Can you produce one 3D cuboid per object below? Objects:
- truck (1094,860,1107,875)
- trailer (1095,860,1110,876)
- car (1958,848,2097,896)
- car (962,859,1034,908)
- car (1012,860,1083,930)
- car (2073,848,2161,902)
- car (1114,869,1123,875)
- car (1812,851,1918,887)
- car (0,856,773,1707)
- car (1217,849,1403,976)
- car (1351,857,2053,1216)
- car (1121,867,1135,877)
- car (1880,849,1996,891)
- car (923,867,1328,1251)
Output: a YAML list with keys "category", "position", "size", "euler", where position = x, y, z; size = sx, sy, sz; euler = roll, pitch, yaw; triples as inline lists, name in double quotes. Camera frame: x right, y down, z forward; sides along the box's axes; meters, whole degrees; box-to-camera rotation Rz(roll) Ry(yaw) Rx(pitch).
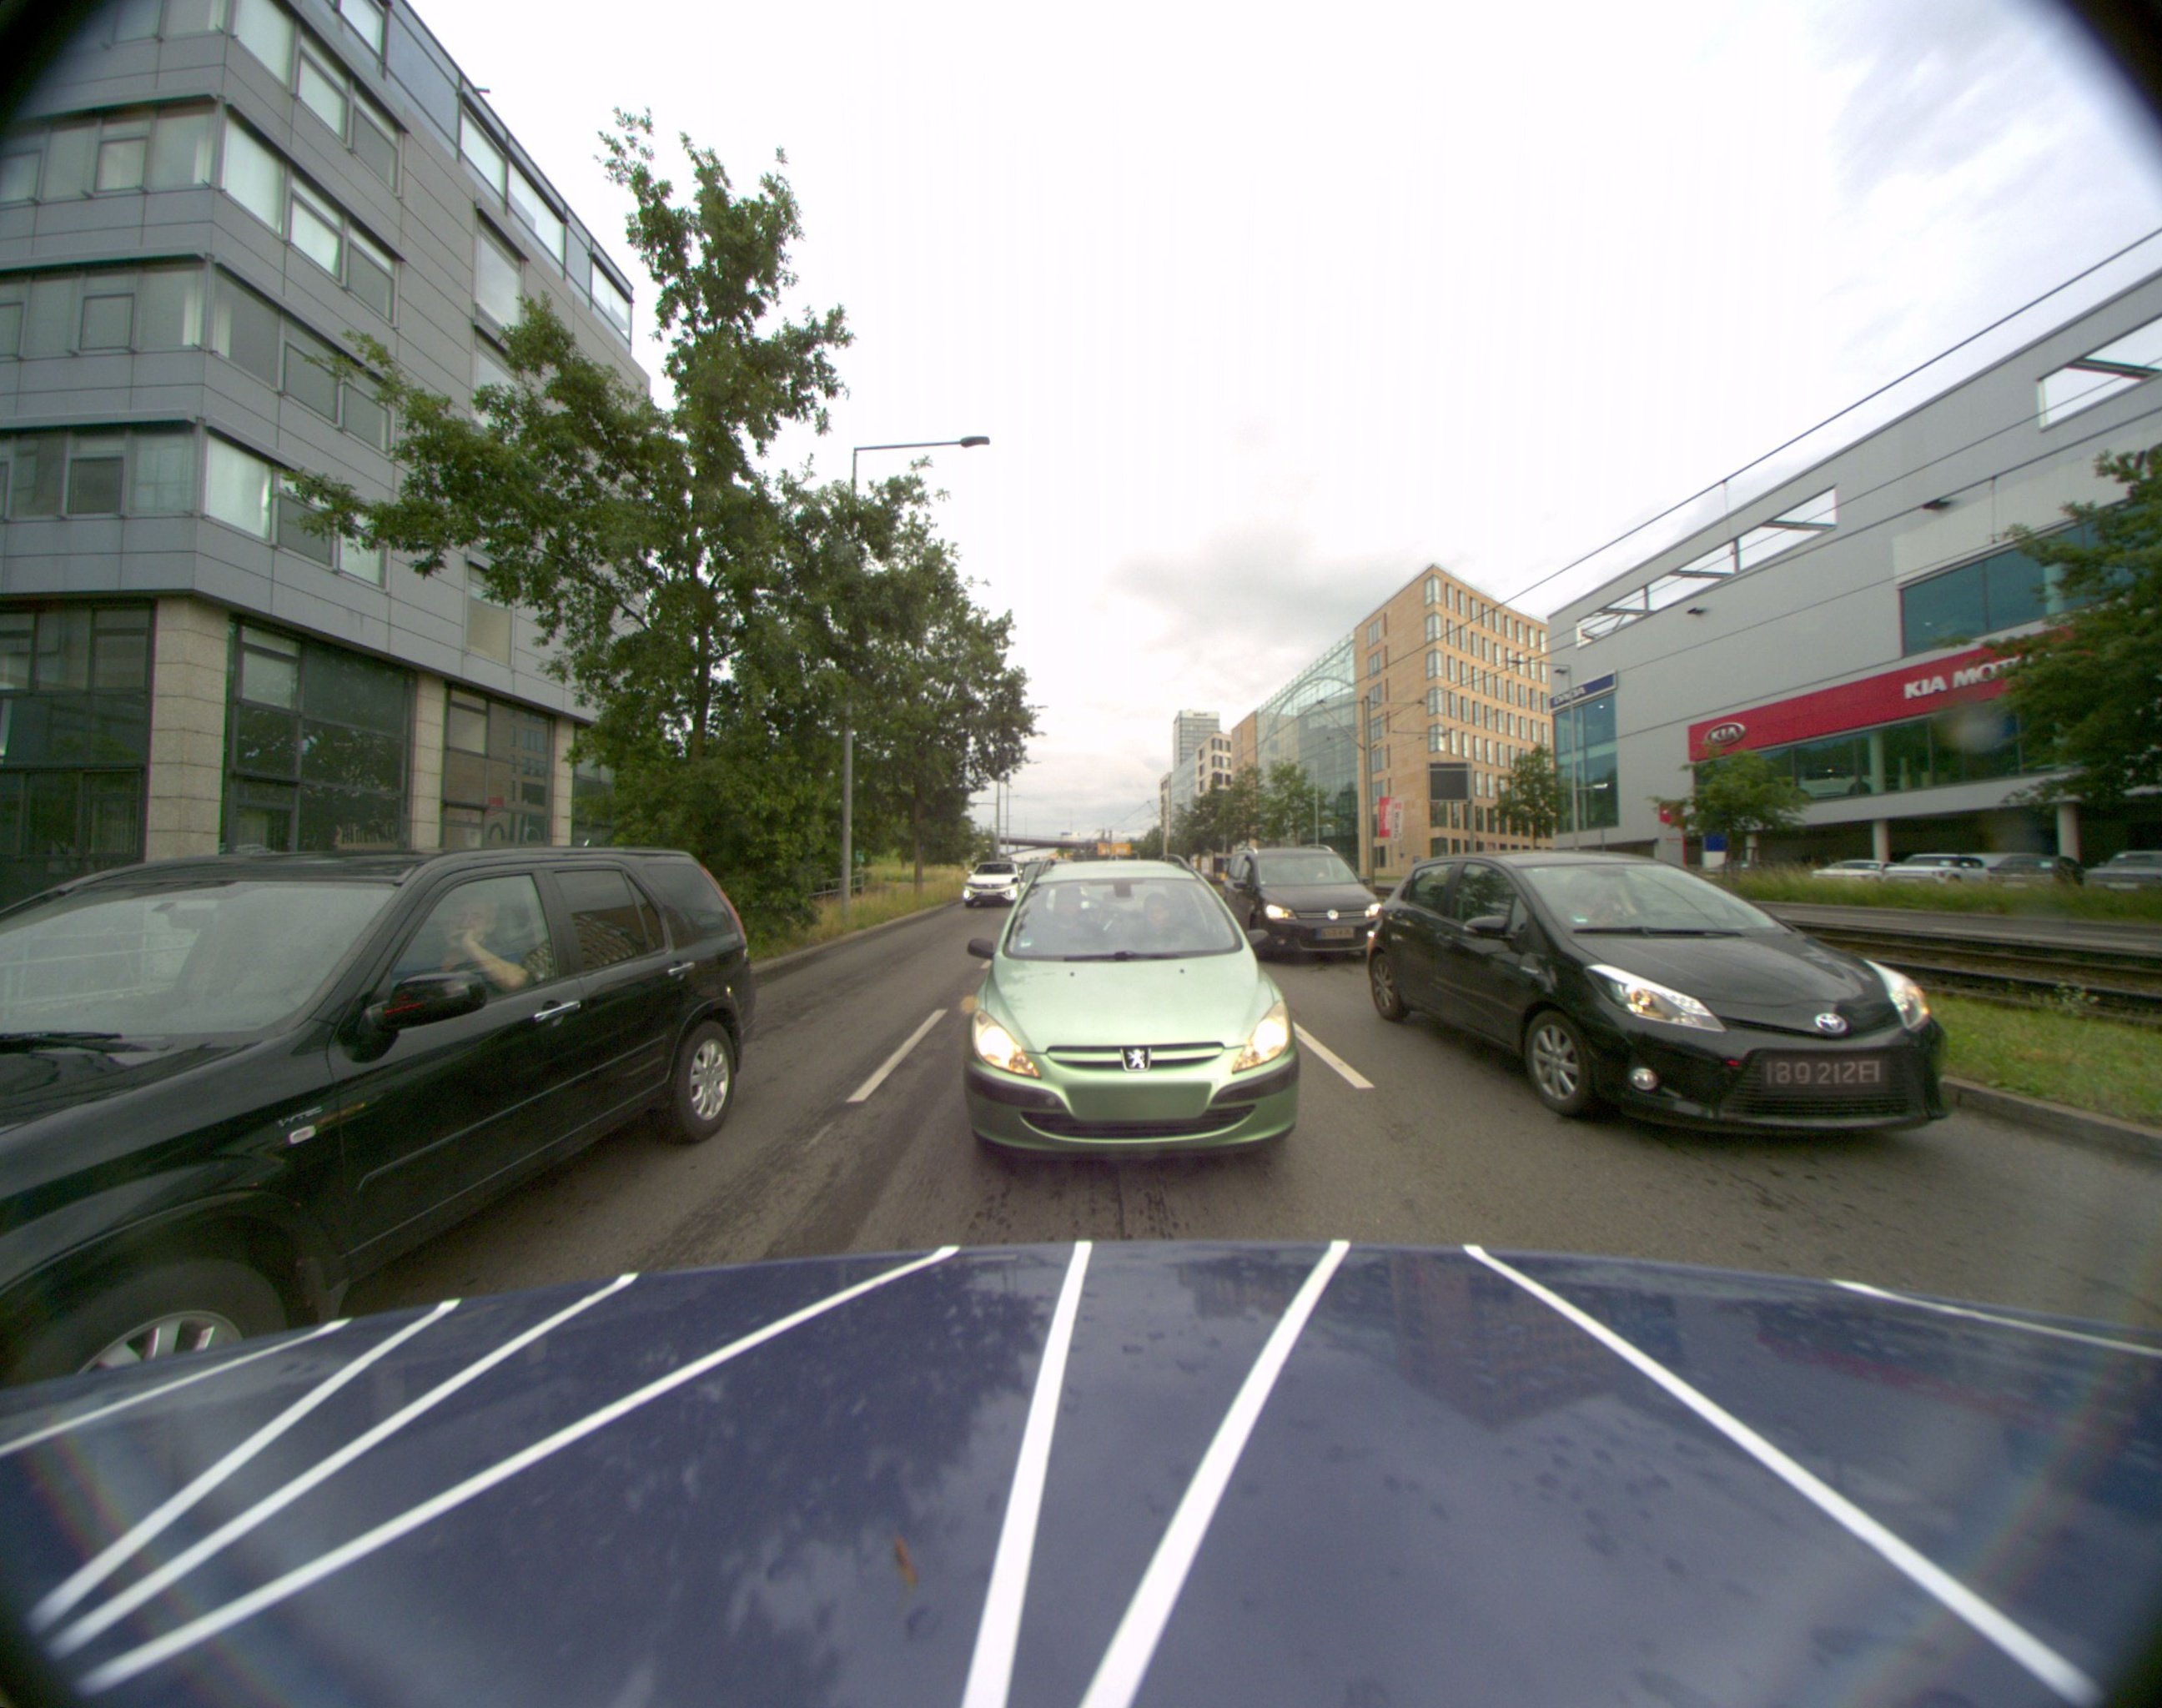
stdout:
- category: "truck"
  position: [5.703, 3.985, 223.166]
  size: [3.144, 4.219, 7.026]
  euler: [2, 0, -3]
- category: "trailer"
  position: [6.099, 3.932, 216.566]
  size: [3.143, 4.304, 13.277]
  euler: [2, 0, -3]
- category: "car"
  position: [31.603, 0.574, 25.387]
  size: [3.528, 1.344, 1.696]
  euler: [-4, 1, -17]
- category: "car"
  position: [-2.757, 0.955, 26.033]
  size: [1.827, 1.495, 3.767]
  euler: [-1, 0, 3]
- category: "car"
  position: [-0.851, 0.922, 18.414]
  size: [1.518, 1.495, 3.167]
  euler: [-1, 0, -4]
- category: "car"
  position: [32.028, 0.593, 22.850]
  size: [3.528, 1.344, 1.696]
  euler: [-4, 1, -20]
- category: "car"
  position: [8.717, 4.181, 176.841]
  size: [1.589, 1.504, 4.100]
  euler: [1, 0, -5]
- category: "car"
  position: [31.742, 0.582, 30.773]
  size: [3.668, 1.181, 1.696]
  euler: [-4, 1, -22]
- category: "car"
  position: [-2.953, 0.862, 2.834]
  size: [1.759, 1.649, 4.338]
  euler: [-1, 0, 1]
- category: "car"
  position: [3.311, 0.750, 11.874]
  size: [1.786, 1.597, 4.318]
  euler: [-1, 0, 3]
- category: "car"
  position: [3.431, 0.813, 5.267]
  size: [1.704, 1.523, 3.826]
  euler: [-1, 0, -1]
- category: "car"
  position: [8.761, 3.383, 142.398]
  size: [1.999, 1.709, 4.839]
  euler: [1, 0, -2]
- category: "car"
  position: [31.765, 0.566, 28.168]
  size: [3.668, 1.287, 1.696]
  euler: [-4, 1, -22]
- category: "car"
  position: [0.178, 0.914, 5.441]
  size: [1.704, 1.523, 4.370]
  euler: [-1, 0, -1]
